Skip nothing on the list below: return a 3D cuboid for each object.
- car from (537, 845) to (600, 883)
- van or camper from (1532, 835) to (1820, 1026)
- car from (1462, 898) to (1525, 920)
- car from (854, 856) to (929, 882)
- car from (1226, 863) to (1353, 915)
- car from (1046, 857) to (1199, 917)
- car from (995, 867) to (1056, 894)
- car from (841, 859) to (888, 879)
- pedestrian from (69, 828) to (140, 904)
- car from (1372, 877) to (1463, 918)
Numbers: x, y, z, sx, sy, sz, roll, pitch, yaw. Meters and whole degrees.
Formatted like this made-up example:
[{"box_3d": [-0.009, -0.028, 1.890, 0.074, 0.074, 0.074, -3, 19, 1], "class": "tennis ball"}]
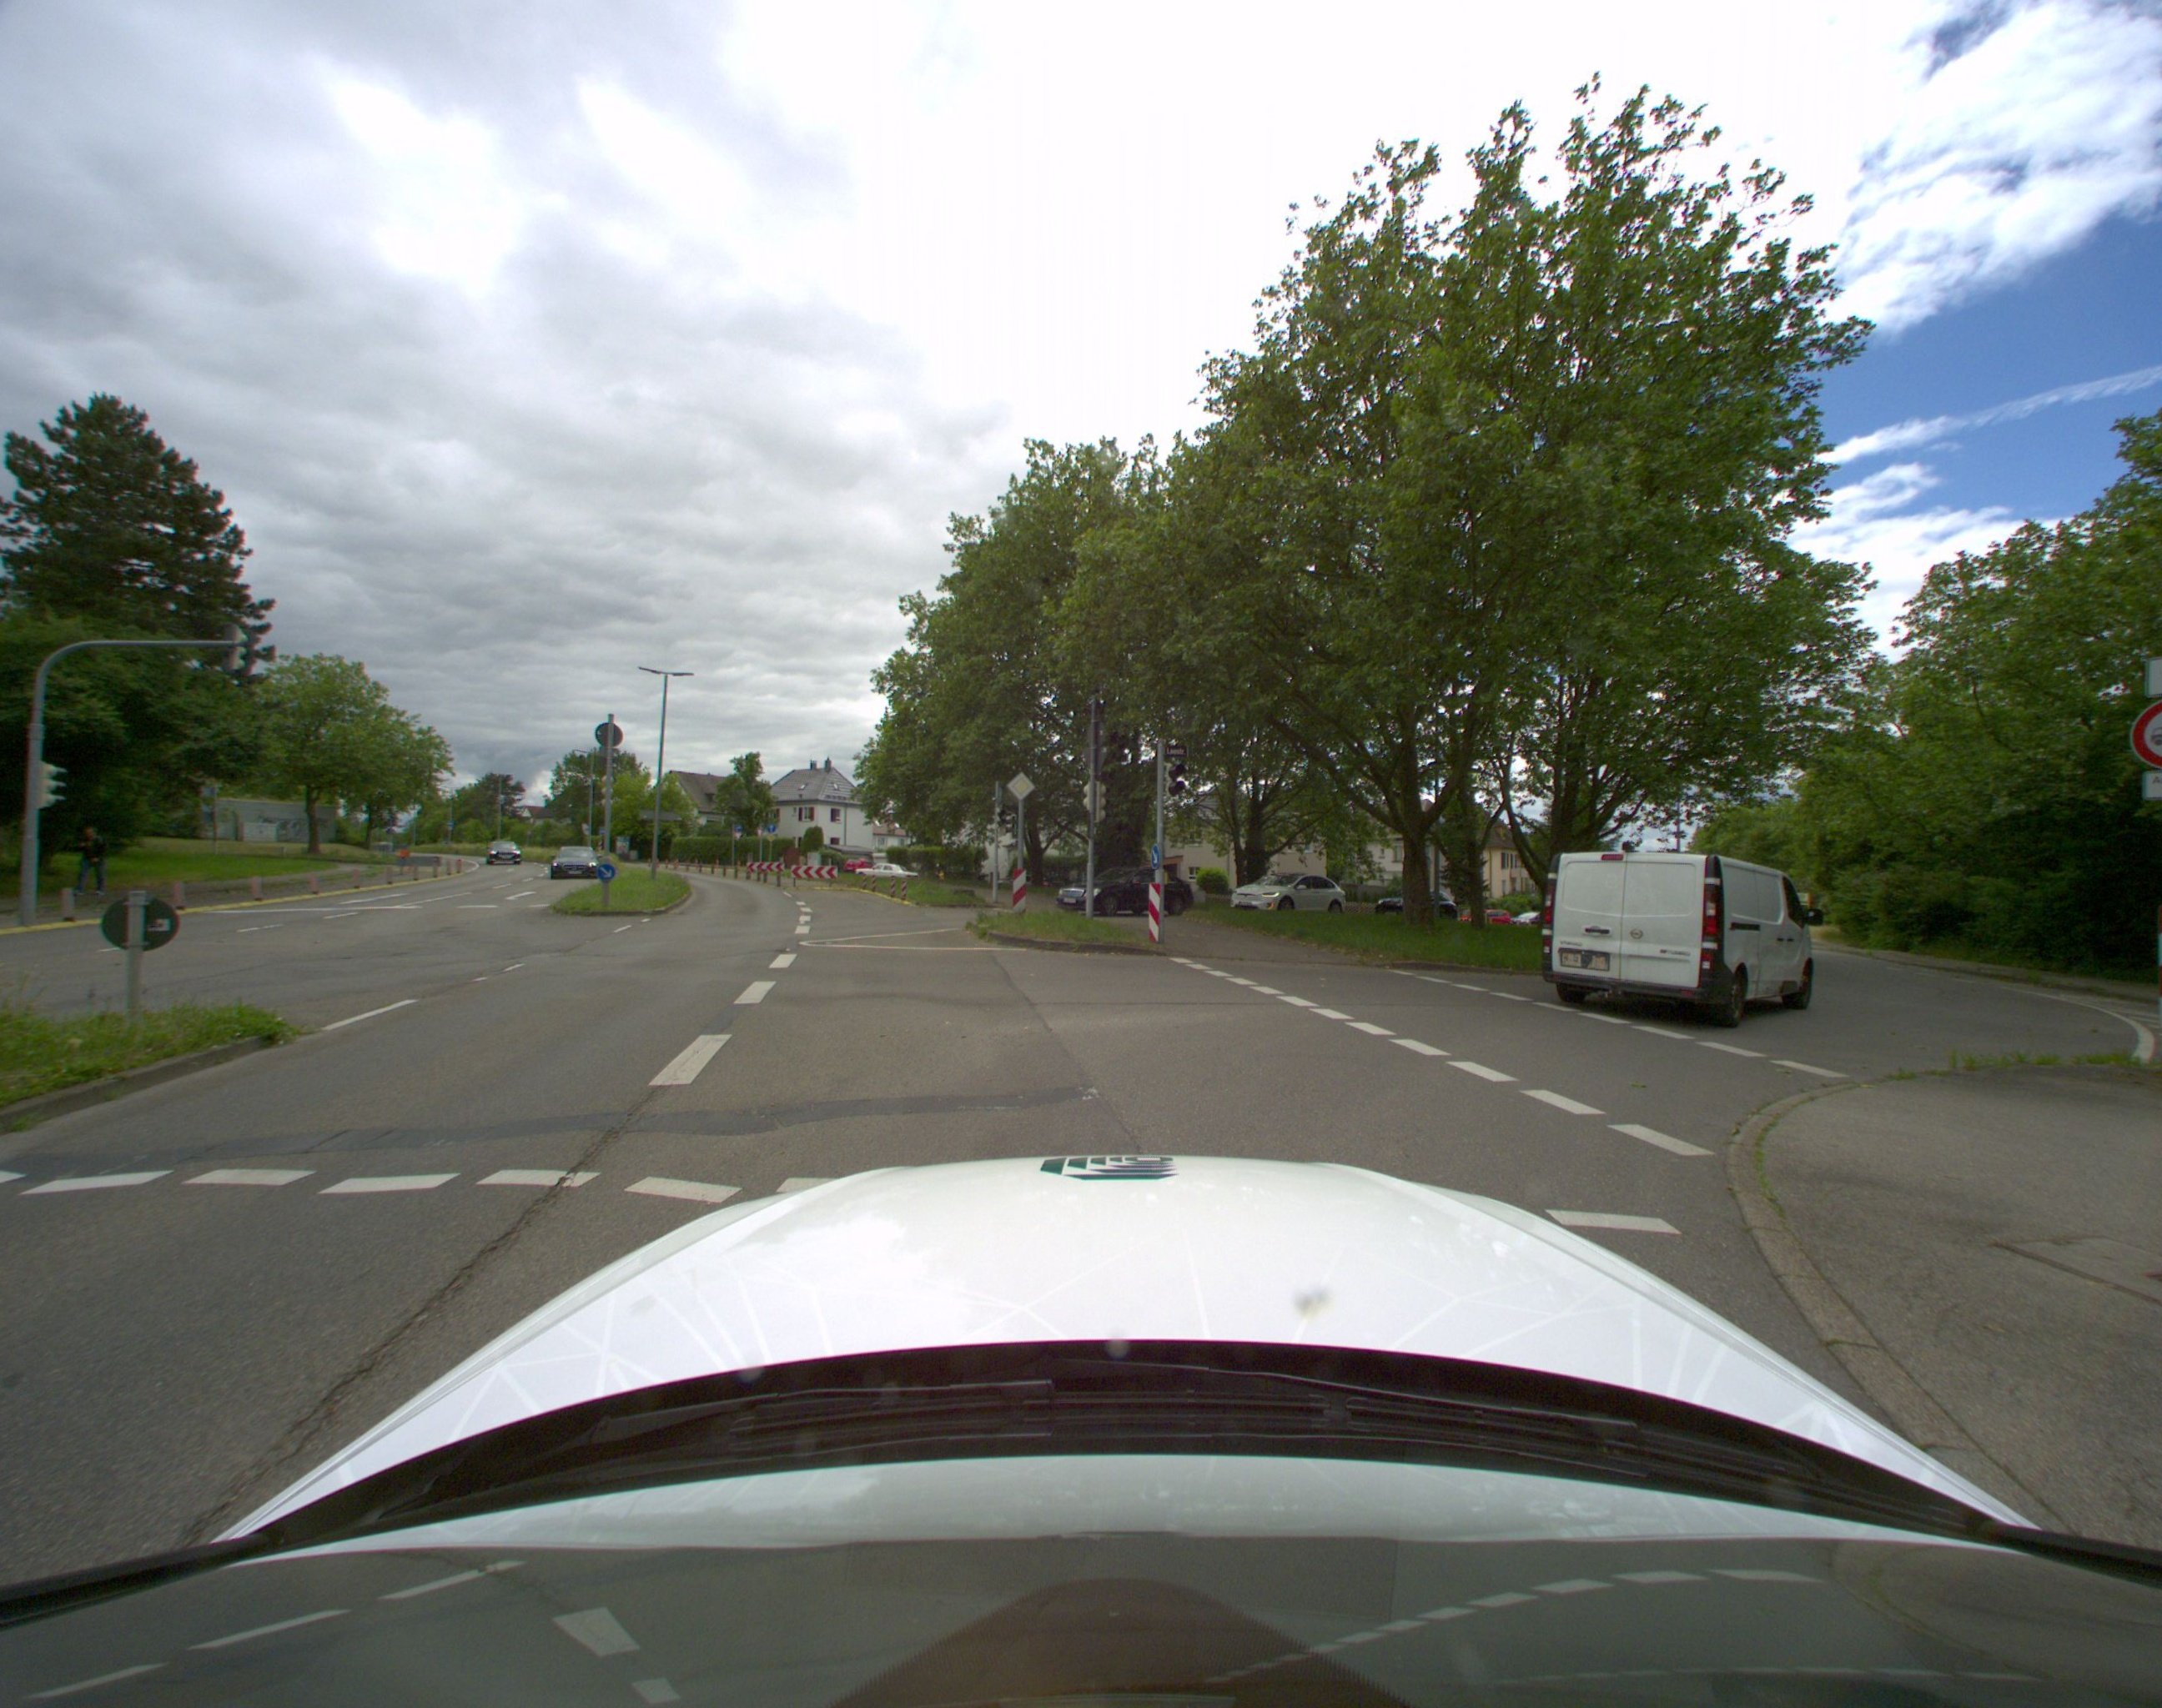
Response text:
[{"box_3d": [-23.977, 0.419, 38.043, 1.856, 1.631, 4.210, 0, 1, -41], "class": "car"}, {"box_3d": [8.076, 0.845, 10.861, 4.852, 2.014, 1.908, 2, -1, -39], "class": "van or camper"}, {"box_3d": [30.814, 4.125, 60.801, 4.278, 1.474, 1.721, 3, -3, -20], "class": "car"}, {"box_3d": [-14.066, 1.120, 60.508, 4.829, 1.791, 2.226, 1, -1, 17], "class": "car"}, {"box_3d": [7.376, 1.181, 28.535, 4.932, 1.658, 1.835, 2, -1, -41], "class": "car"}, {"box_3d": [1.275, 0.974, 23.501, 4.409, 1.517, 1.742, 5, -3, -41], "class": "car"}, {"box_3d": [-3.951, 1.875, 58.058, 3.963, 1.514, 1.665, 4, 0, 6], "class": "car"}, {"box_3d": [-17.910, 1.252, 67.481, 1.590, 1.517, 3.846, 2, -2, 26], "class": "car"}, {"box_3d": [-26.728, 0.328, 22.317, 0.956, 2.014, 0.846, 2, -1, -32], "class": "pedestrian"}, {"box_3d": [14.483, 1.817, 34.924, 4.637, 1.591, 1.742, 2, -1, -41], "class": "car"}]
